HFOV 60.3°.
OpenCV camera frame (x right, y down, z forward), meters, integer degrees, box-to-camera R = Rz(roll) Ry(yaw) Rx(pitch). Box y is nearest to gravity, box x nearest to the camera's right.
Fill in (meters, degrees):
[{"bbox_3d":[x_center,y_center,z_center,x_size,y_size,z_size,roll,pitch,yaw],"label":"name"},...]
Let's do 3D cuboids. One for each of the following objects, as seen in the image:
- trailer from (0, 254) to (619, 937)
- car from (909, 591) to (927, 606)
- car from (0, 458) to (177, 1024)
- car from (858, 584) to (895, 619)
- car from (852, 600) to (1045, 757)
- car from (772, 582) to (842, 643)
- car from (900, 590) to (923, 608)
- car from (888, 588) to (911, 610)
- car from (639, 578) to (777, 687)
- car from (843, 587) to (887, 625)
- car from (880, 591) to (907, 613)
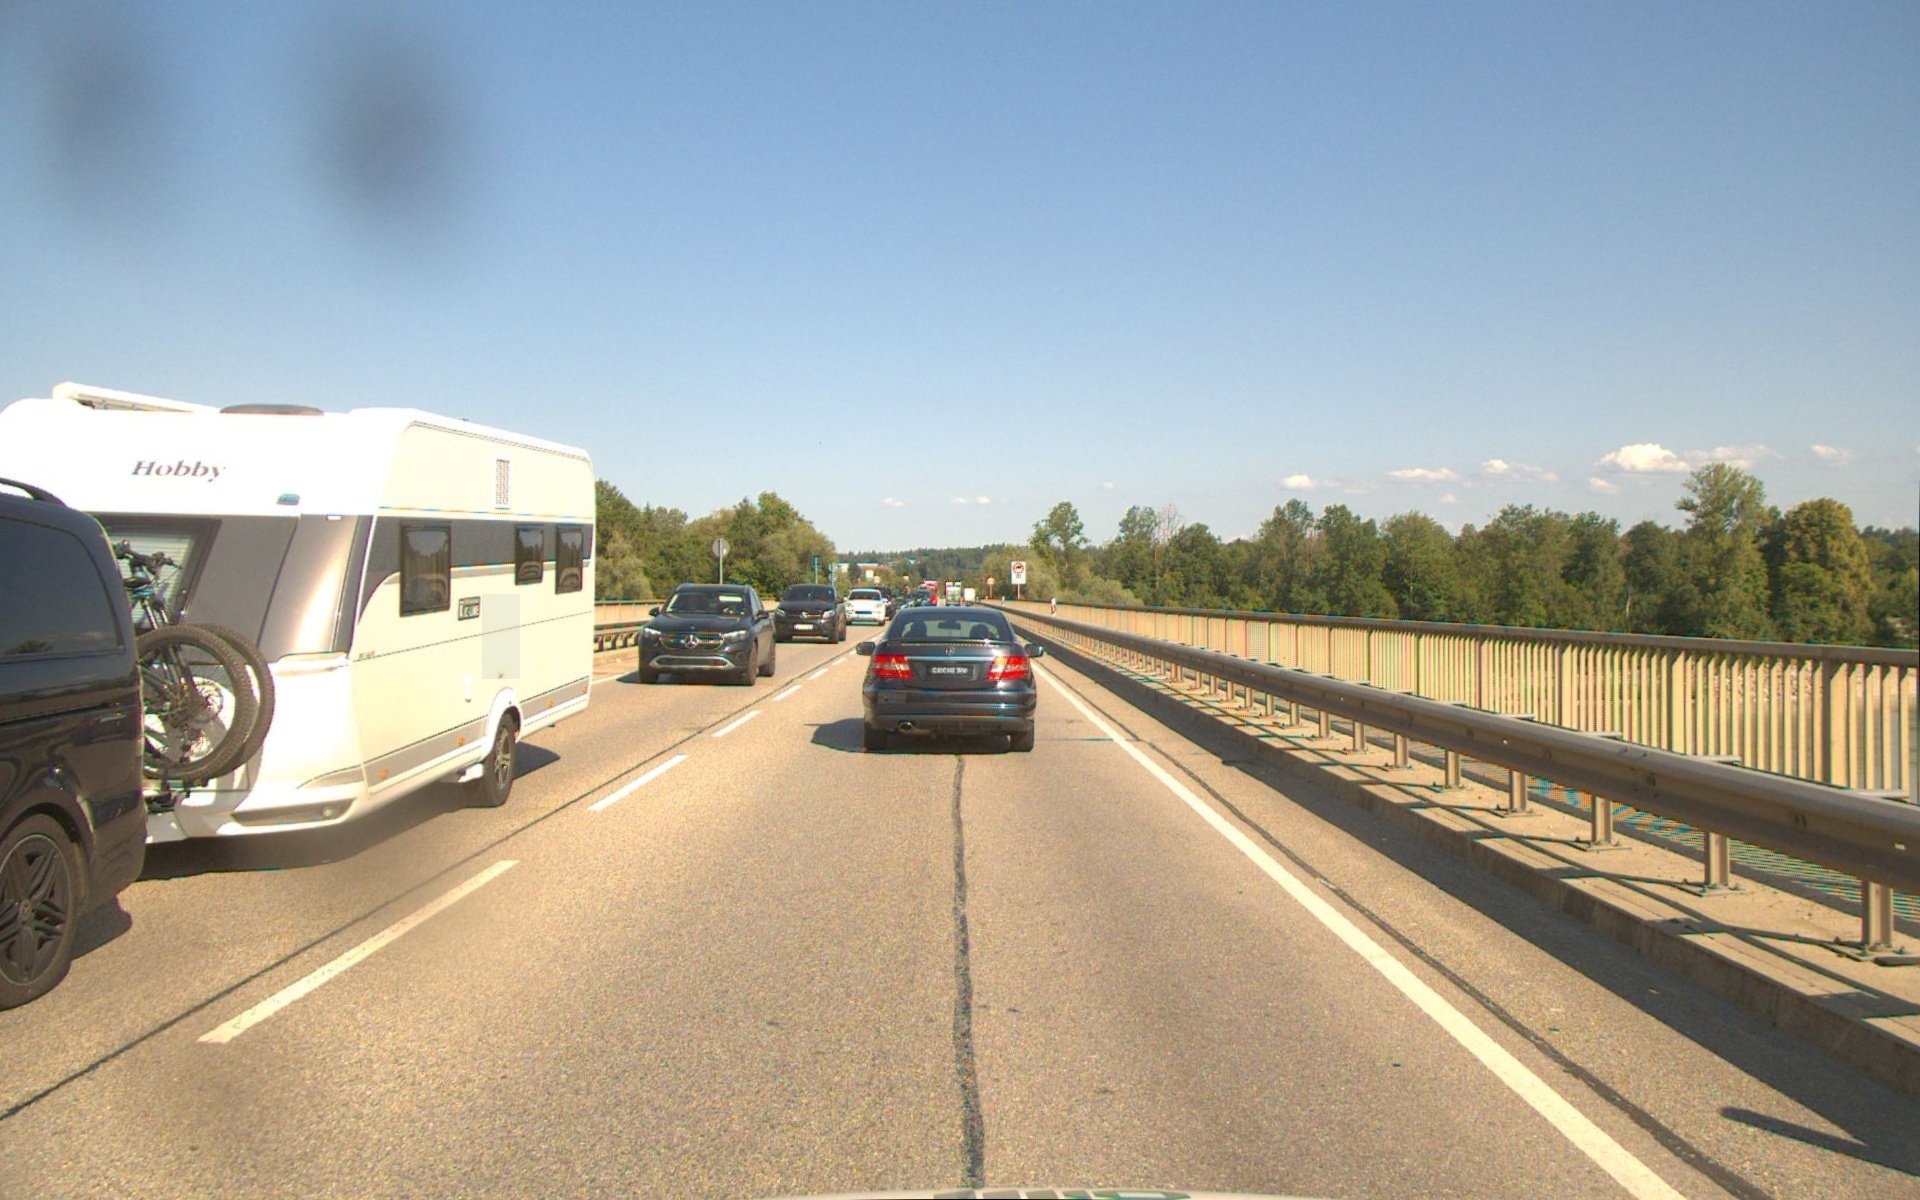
[{"bbox_3d":[-4.307,-0.041,10.776,2.503,2.785,8.062,0,0,0],"label":"trailer"},{"bbox_3d":[-4.638,-0.124,180.652,1.770,1.605,4.198,1,0,-4],"label":"car"},{"bbox_3d":[-4.155,0.463,4.239,1.943,1.886,5.007,0,0,-1],"label":"car"},{"bbox_3d":[-4.796,0.090,94.844,1.997,1.906,5.066,1,0,-3],"label":"car"},{"bbox_3d":[-0.109,0.719,17.149,1.756,1.400,4.000,1,0,0],"label":"car"},{"bbox_3d":[-4.550,0.345,49.630,1.910,1.723,4.474,1,0,-3],"label":"car"},{"bbox_3d":[-4.872,-0.123,165.277,2.013,1.681,4.718,3,0,-4],"label":"car"},{"bbox_3d":[-5.023,-0.088,138.299,1.817,1.752,4.565,1,0,-1],"label":"car"},{"bbox_3d":[-4.181,0.491,28.014,1.766,1.690,4.432,0,0,-2],"label":"car"},{"bbox_3d":[-4.490,0.263,77.920,1.944,1.680,4.595,3,0,-3],"label":"car"},{"bbox_3d":[-4.523,0.118,112.501,1.730,1.472,4.453,1,0,-4],"label":"car"}]
